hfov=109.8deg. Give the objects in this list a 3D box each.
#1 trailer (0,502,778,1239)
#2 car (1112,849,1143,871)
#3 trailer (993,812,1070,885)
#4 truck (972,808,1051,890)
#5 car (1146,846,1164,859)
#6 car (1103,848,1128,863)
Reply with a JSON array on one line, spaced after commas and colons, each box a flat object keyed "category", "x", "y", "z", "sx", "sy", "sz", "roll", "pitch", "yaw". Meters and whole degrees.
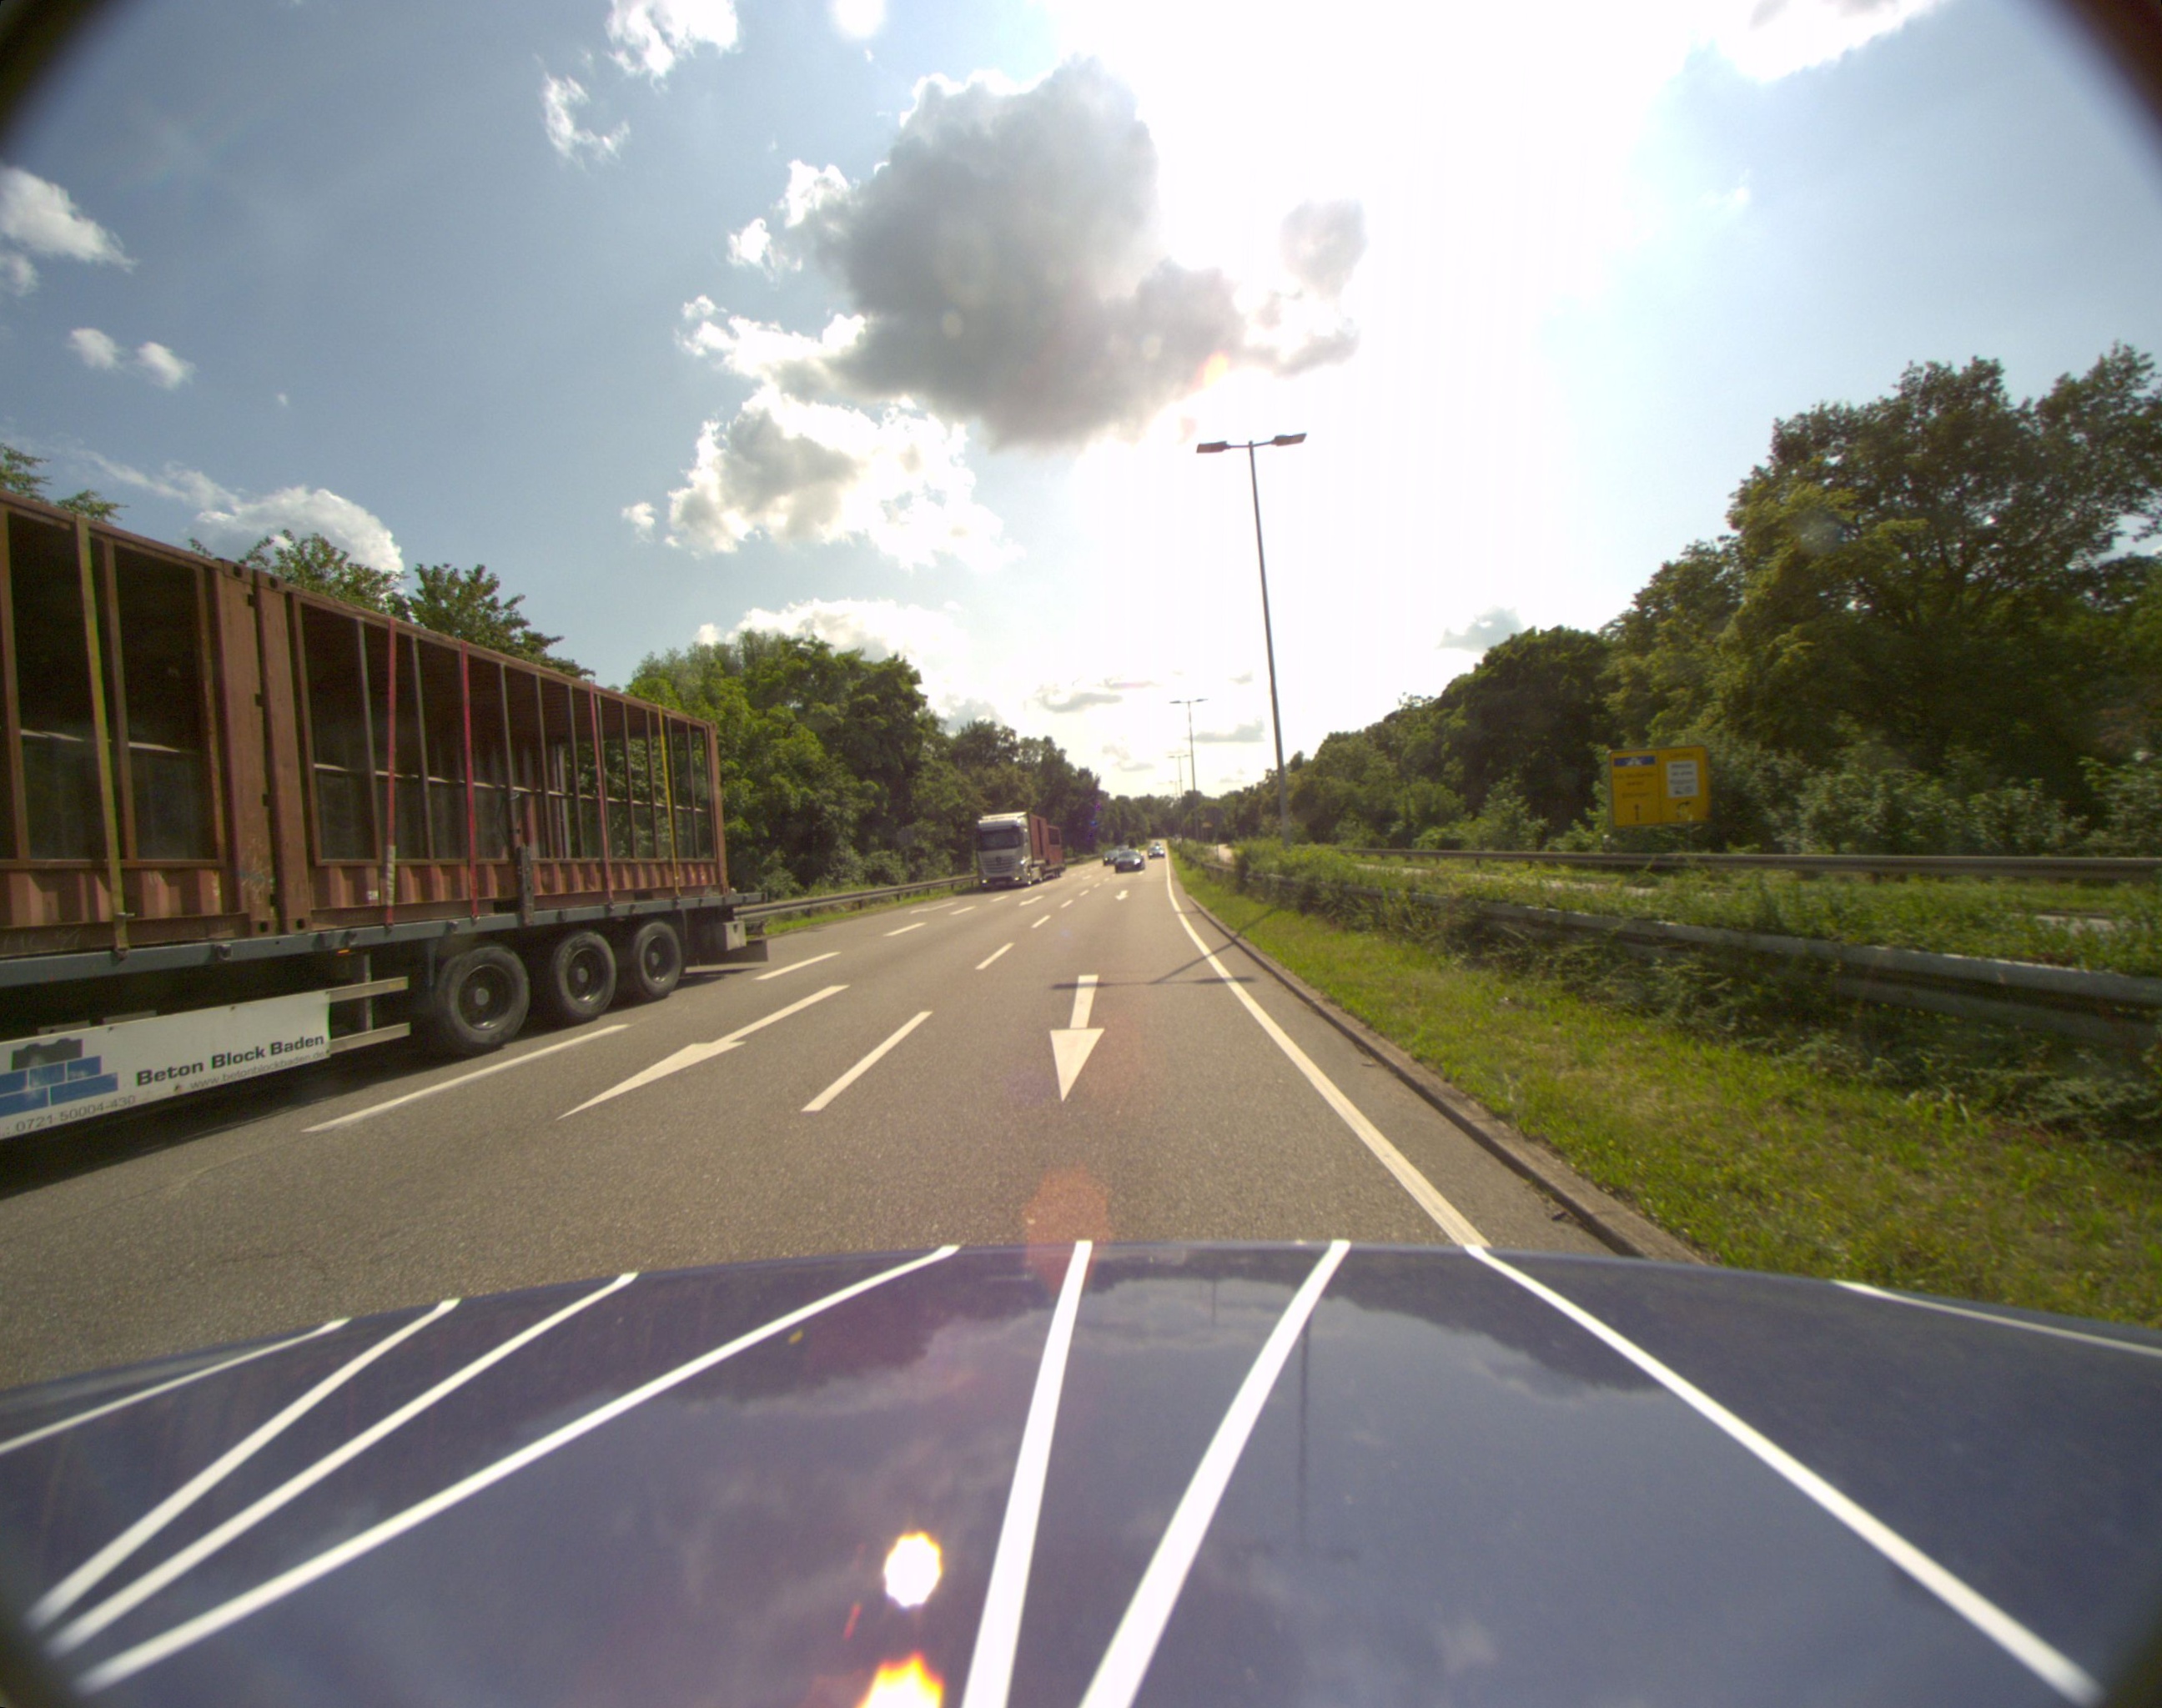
[{"category": "trailer", "x": -6.879, "y": 0.136, "z": 5.433, "sx": 2.591, "sy": 3.871, "sz": 14.504, "roll": -5, "pitch": 0, "yaw": 3}, {"category": "car", "x": 3.230, "y": 0.388, "z": 52.011, "sx": 1.796, "sy": 1.368, "sz": 4.002, "roll": -3, "pitch": 0, "yaw": 7}, {"category": "trailer", "x": -2.917, "y": -0.350, "z": 49.526, "sx": 2.694, "sy": 3.948, "sz": 12.396, "roll": -5, "pitch": 0, "yaw": 6}, {"category": "truck", "x": -3.682, "y": -0.259, "z": 42.234, "sx": 2.690, "sy": 3.948, "sz": 7.386, "roll": -5, "pitch": 0, "yaw": 6}, {"category": "car", "x": 8.586, "y": -0.221, "z": 87.951, "sx": 1.796, "sy": 1.368, "sz": 4.002, "roll": -3, "pitch": 0, "yaw": 7}, {"category": "car", "x": 3.409, "y": 0.153, "z": 74.476, "sx": 1.997, "sy": 1.330, "sz": 4.002, "roll": -3, "pitch": 0, "yaw": 8}]
